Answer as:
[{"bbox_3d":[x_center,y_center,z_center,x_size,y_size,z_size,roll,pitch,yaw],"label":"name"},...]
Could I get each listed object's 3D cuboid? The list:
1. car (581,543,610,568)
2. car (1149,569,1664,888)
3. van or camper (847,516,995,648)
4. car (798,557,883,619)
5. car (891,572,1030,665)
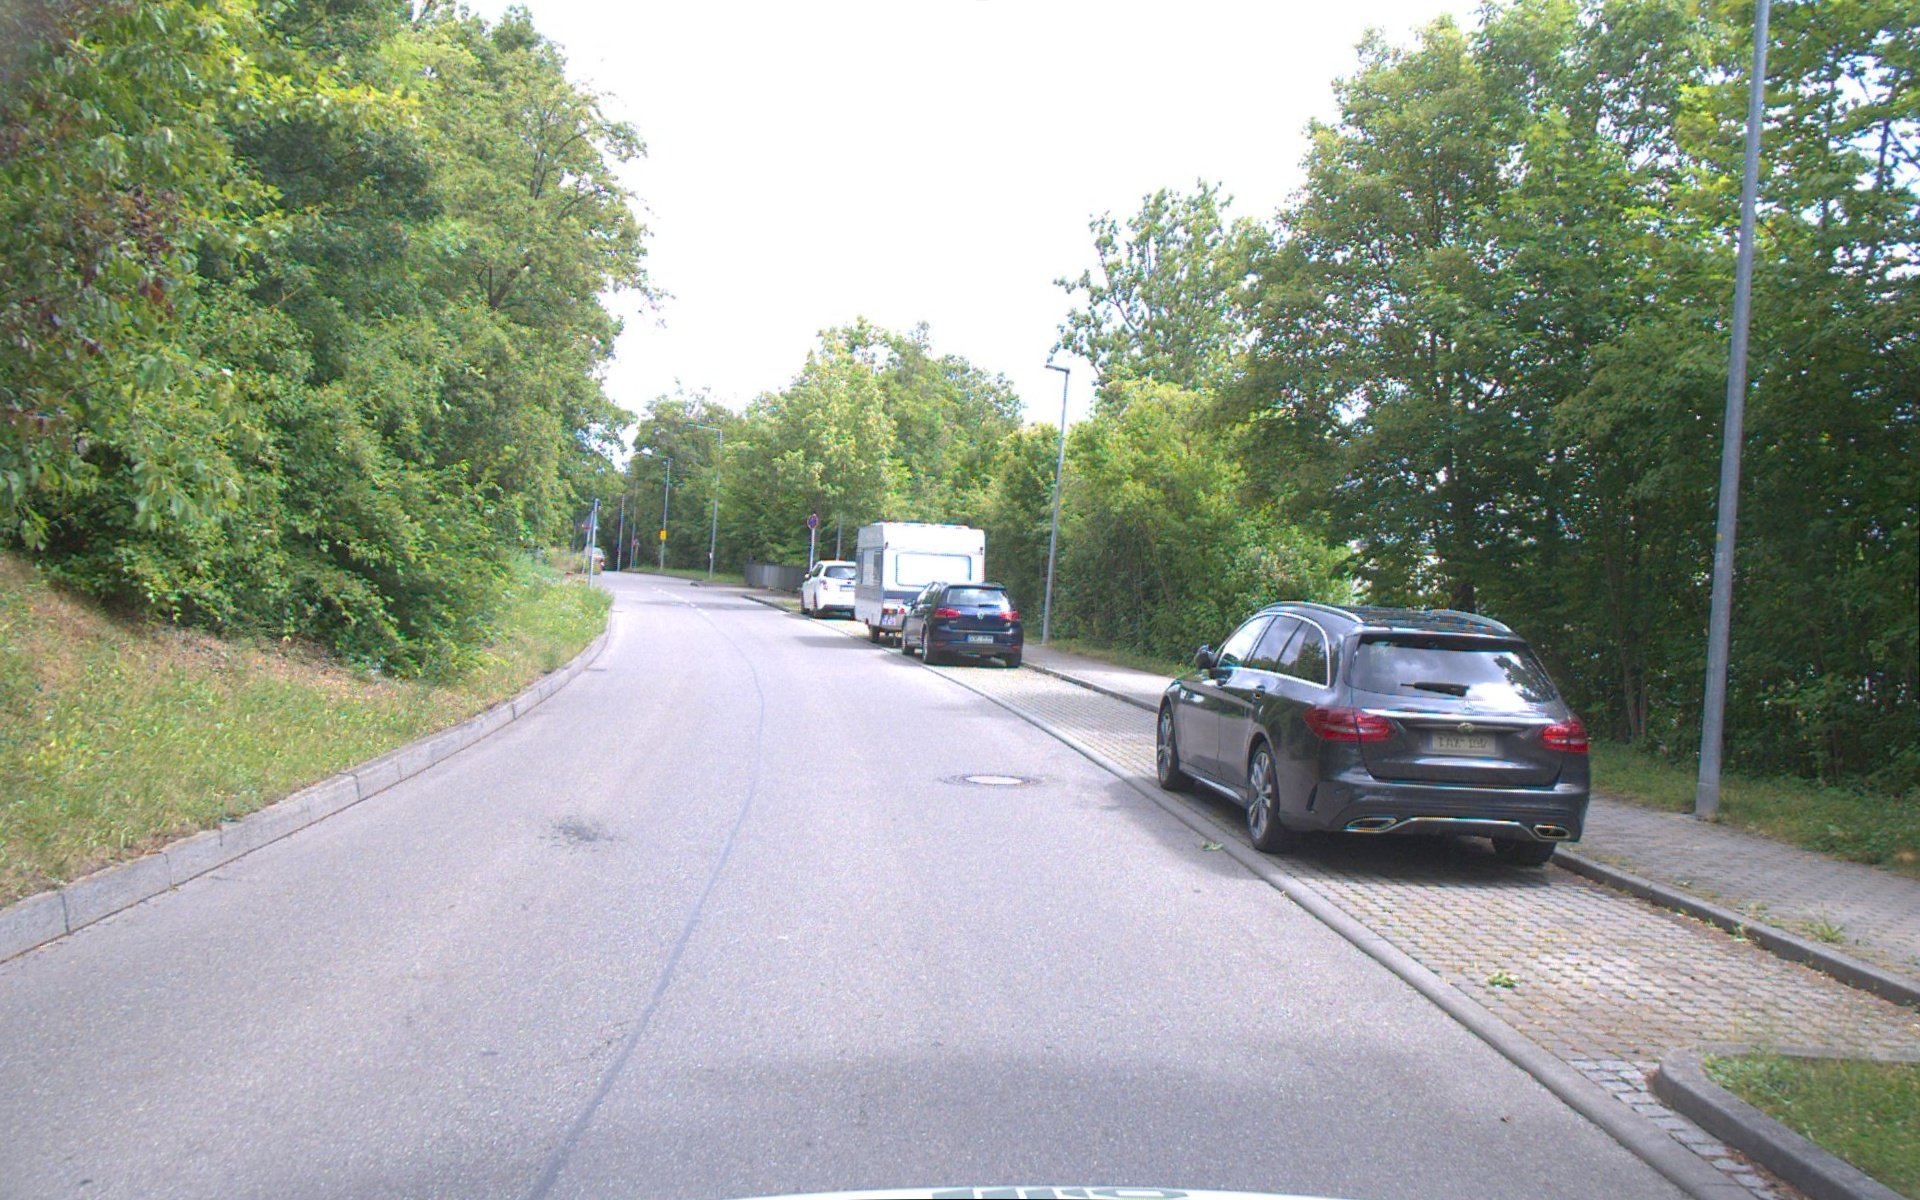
[{"bbox_3d":[-27.666,-3.404,125.520,1.813,1.687,4.204,3,1,-16],"label":"car"},{"bbox_3d":[2.609,0.638,10.930,1.856,1.556,4.543,3,1,-4],"label":"car"},{"bbox_3d":[-0.949,-0.413,35.937,2.313,2.598,5.061,2,1,-11],"label":"van or camper"},{"bbox_3d":[-3.557,-0.379,48.511,1.774,1.627,4.358,2,2,-13],"label":"car"},{"bbox_3d":[-0.067,0.287,30.410,1.652,1.476,4.468,3,1,-11],"label":"car"}]
